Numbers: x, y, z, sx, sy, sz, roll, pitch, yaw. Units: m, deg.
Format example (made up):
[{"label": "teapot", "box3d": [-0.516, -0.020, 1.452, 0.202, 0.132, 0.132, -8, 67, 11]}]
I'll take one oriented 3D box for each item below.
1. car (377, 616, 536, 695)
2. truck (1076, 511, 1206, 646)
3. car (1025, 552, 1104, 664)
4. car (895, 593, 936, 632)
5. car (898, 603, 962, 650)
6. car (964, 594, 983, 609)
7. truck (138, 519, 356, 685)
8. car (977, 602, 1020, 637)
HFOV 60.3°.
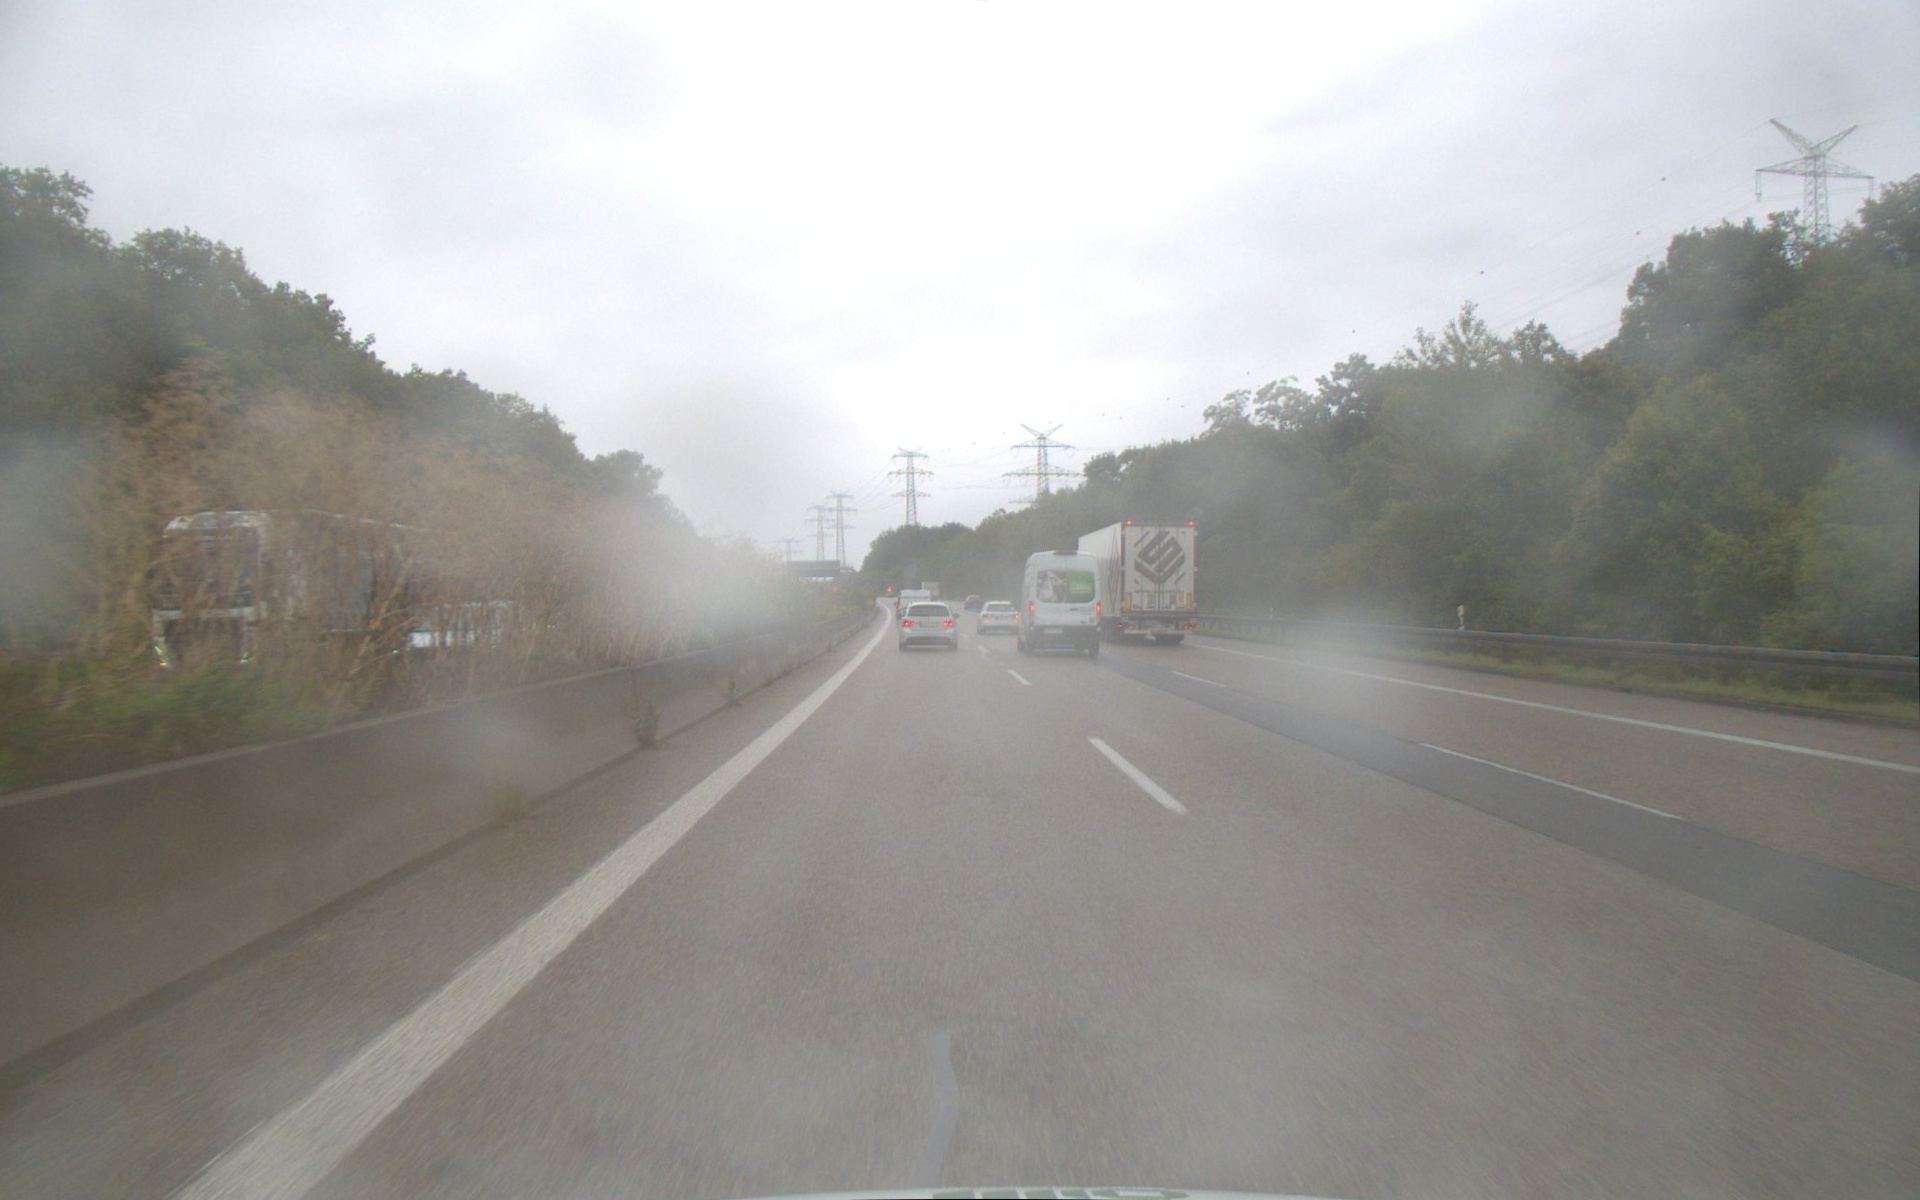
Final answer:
[{"label": "car", "box3d": [-8.738, 0.928, 28.963, 1.573, 1.259, 3.480, -1, 0, 3]}, {"label": "truck", "box3d": [6.390, -0.655, 60.791, 3.529, 4.408, 13.200, 0, -1, 1]}, {"label": "car", "box3d": [2.823, 0.211, 45.437, 1.952, 2.914, 4.000, 0, 0, 1]}, {"label": "car", "box3d": [-2.125, 0.598, 80.236, 1.808, 1.803, 4.000, -1, 0, 1]}, {"label": "car", "box3d": [-0.864, 0.758, 49.381, 1.828, 1.311, 4.000, -1, 0, 0]}, {"label": "car", "box3d": [1.408, 0.159, 171.199, 1.953, 1.512, 4.000, -3, -1, 1]}, {"label": "truck", "box3d": [-16.221, 0.044, 37.995, 2.931, 3.528, 4.769, -1, 0, -1]}, {"label": "car", "box3d": [1.680, 0.818, 71.535, 1.818, 1.447, 4.001, 0, 0, 2]}]
